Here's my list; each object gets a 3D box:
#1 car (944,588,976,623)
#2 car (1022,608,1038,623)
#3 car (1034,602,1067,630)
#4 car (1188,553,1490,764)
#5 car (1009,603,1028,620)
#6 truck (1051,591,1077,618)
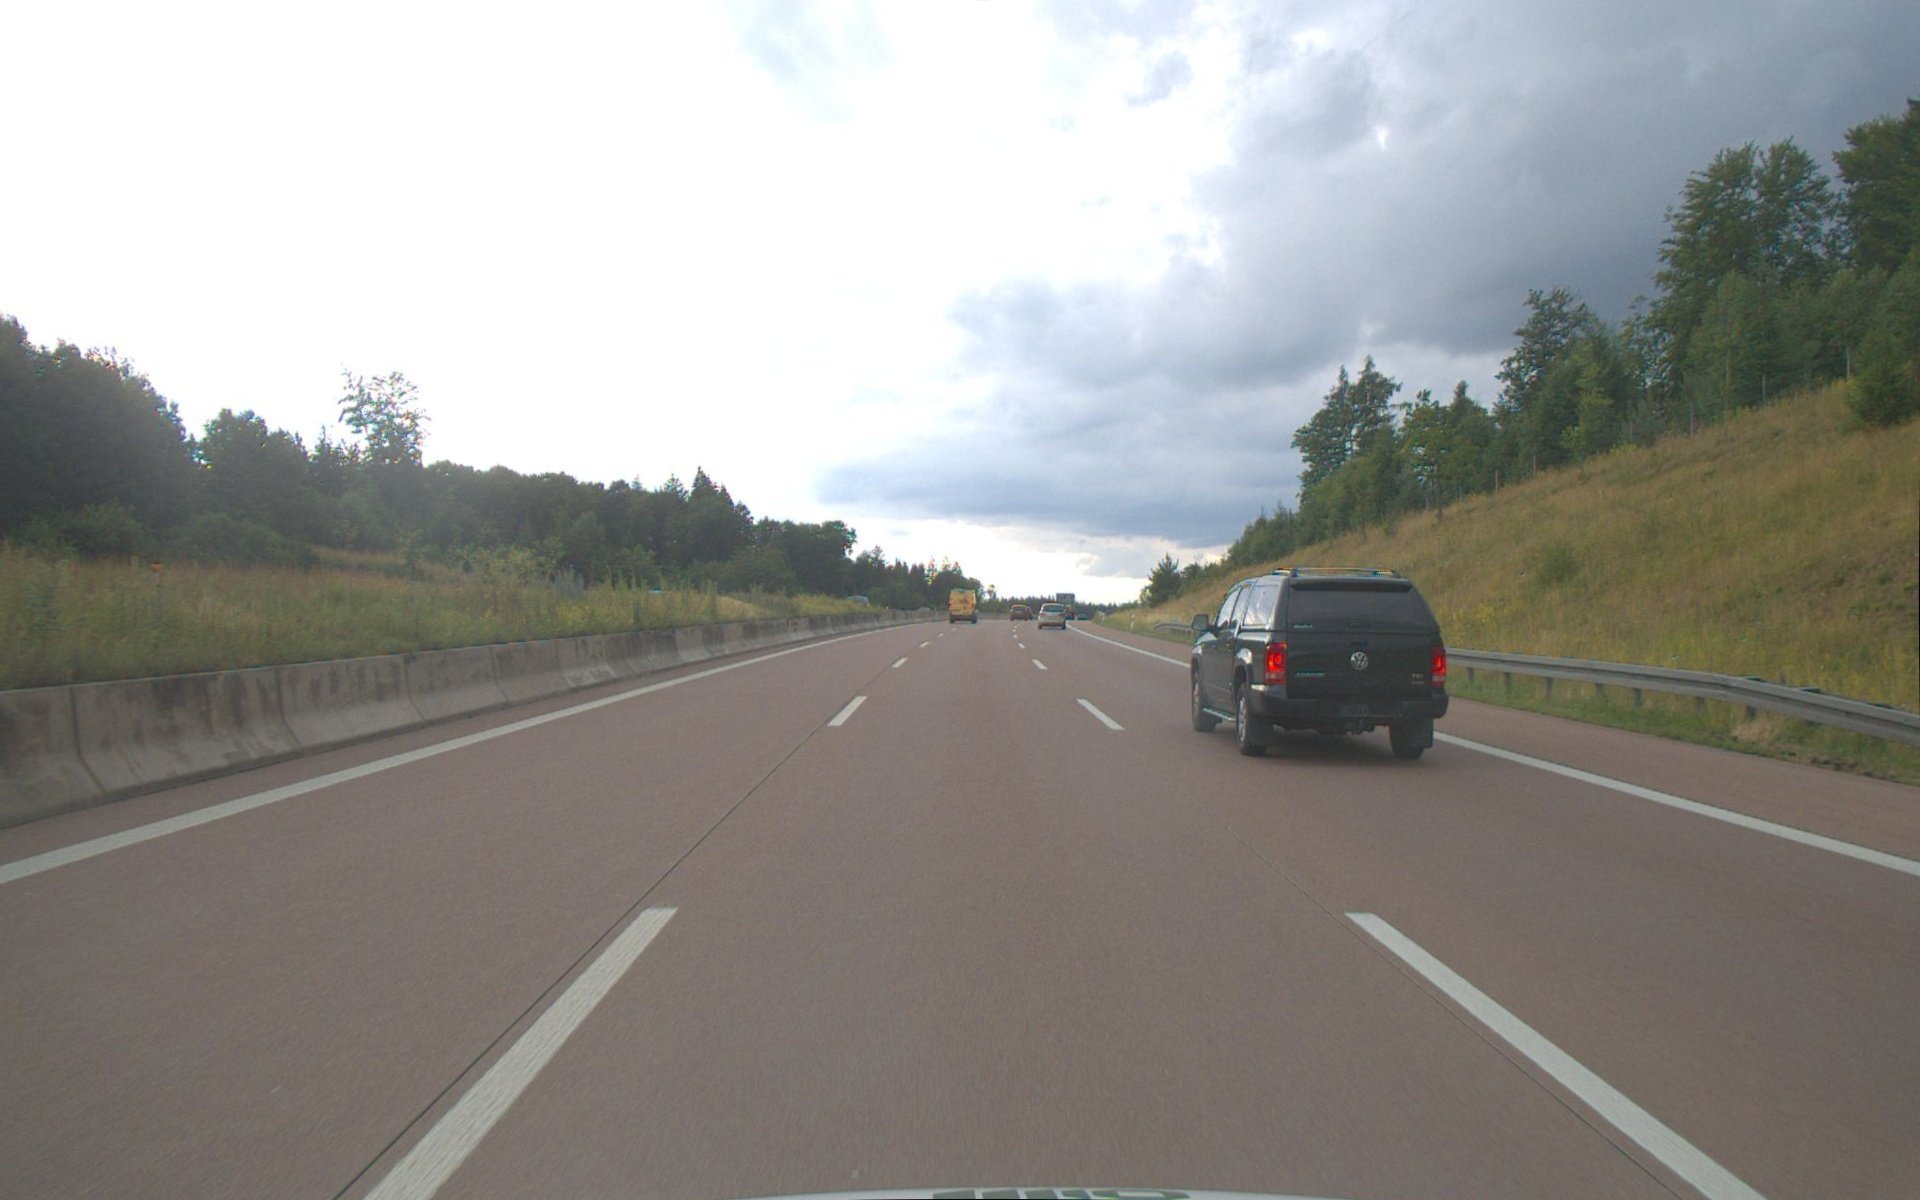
[{"bbox_3d":[-0.005,0.428,133.110,2.407,2.754,5.614,0,-1,1],"label":"car"},{"bbox_3d":[8.822,1.959,208.920,1.848,1.795,5.000,0,-1,4],"label":"car"},{"bbox_3d":[5.694,1.004,104.239,1.936,1.677,4.620,1,0,2],"label":"car"},{"bbox_3d":[3.856,0.566,17.947,2.002,1.930,5.577,0,-1,0],"label":"car"},{"bbox_3d":[6.311,1.292,178.376,1.848,1.795,4.784,0,-1,4],"label":"car"},{"bbox_3d":[16.432,0.761,260.759,3.602,3.981,12.823,1,-1,6],"label":"truck"}]
